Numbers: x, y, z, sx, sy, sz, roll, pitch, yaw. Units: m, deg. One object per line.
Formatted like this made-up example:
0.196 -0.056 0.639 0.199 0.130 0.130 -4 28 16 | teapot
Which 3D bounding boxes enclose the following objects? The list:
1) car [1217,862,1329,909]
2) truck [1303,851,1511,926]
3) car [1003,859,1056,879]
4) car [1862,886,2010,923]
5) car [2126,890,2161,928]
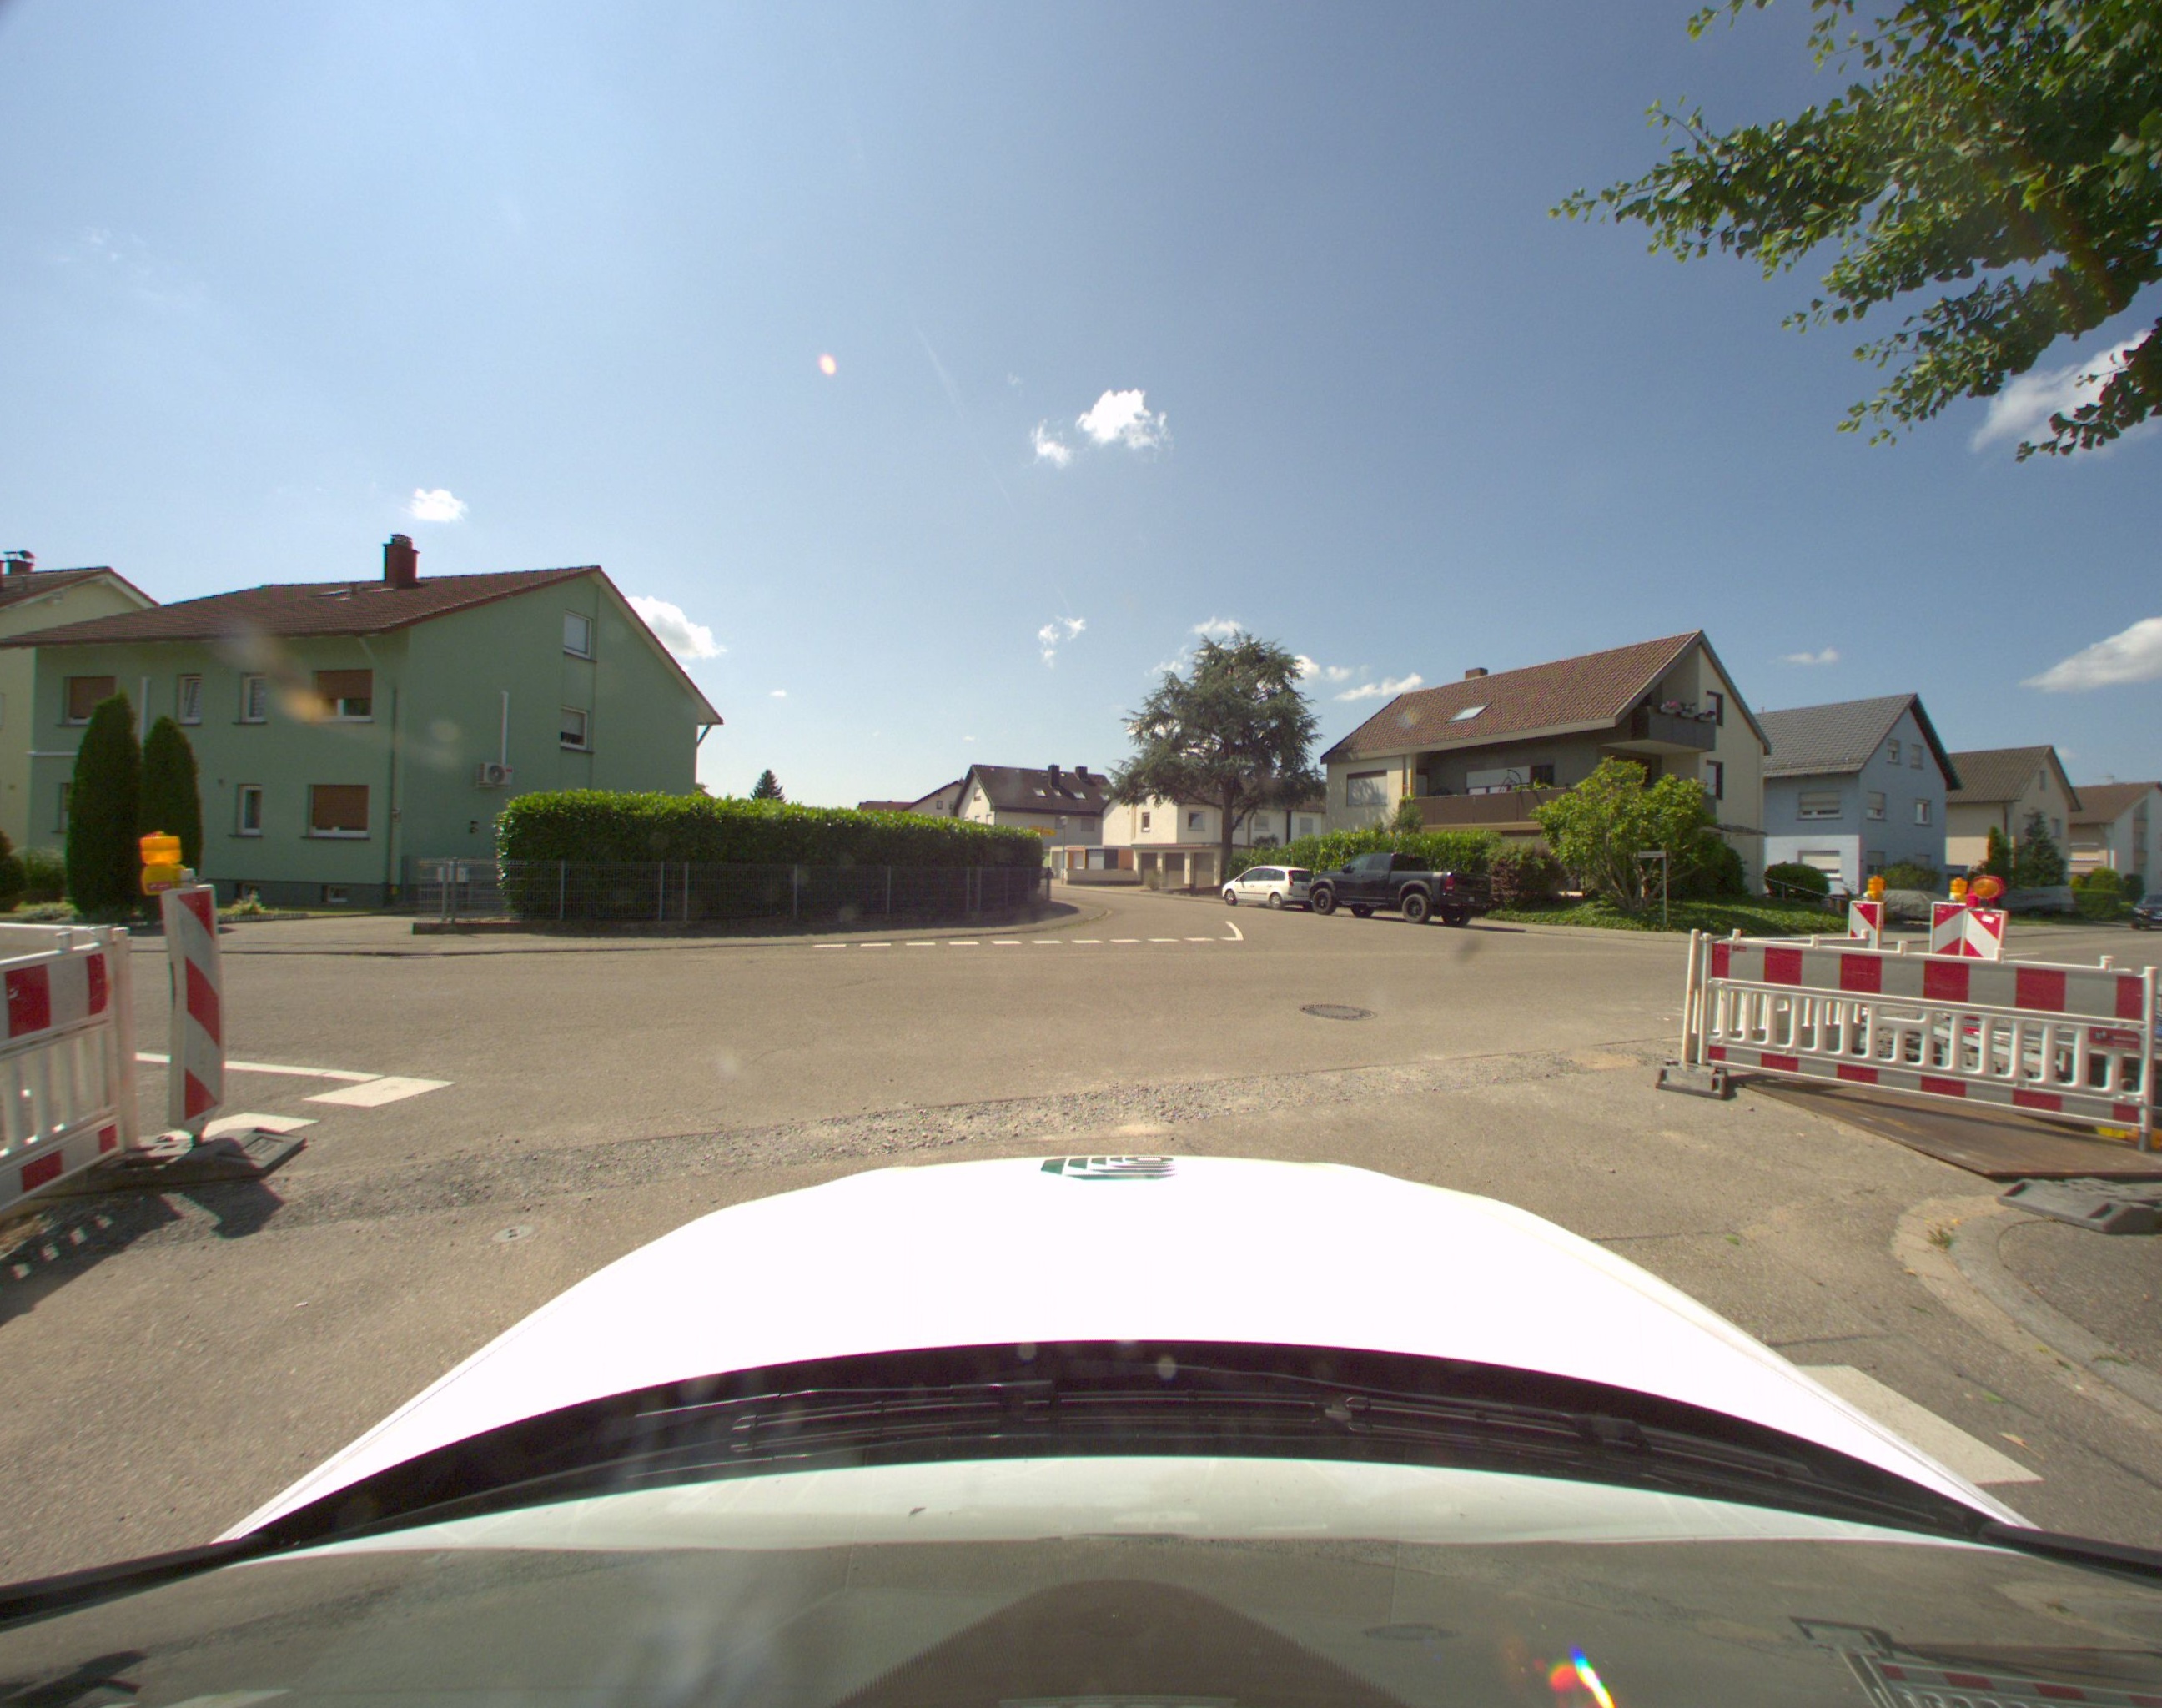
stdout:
7.186 1.152 30.838 1.808 1.563 4.104 2 -1 -29 | car
9.758 0.948 24.980 2.378 2.014 5.658 2 -1 -30 | truck
-3.959 1.131 62.505 3.619 1.408 1.768 2 -1 -27 | car
36.129 2.091 34.531 2.005 1.342 3.963 2 -1 -29 | car
46.866 2.377 34.961 4.011 1.542 1.902 2 -1 -29 | car
